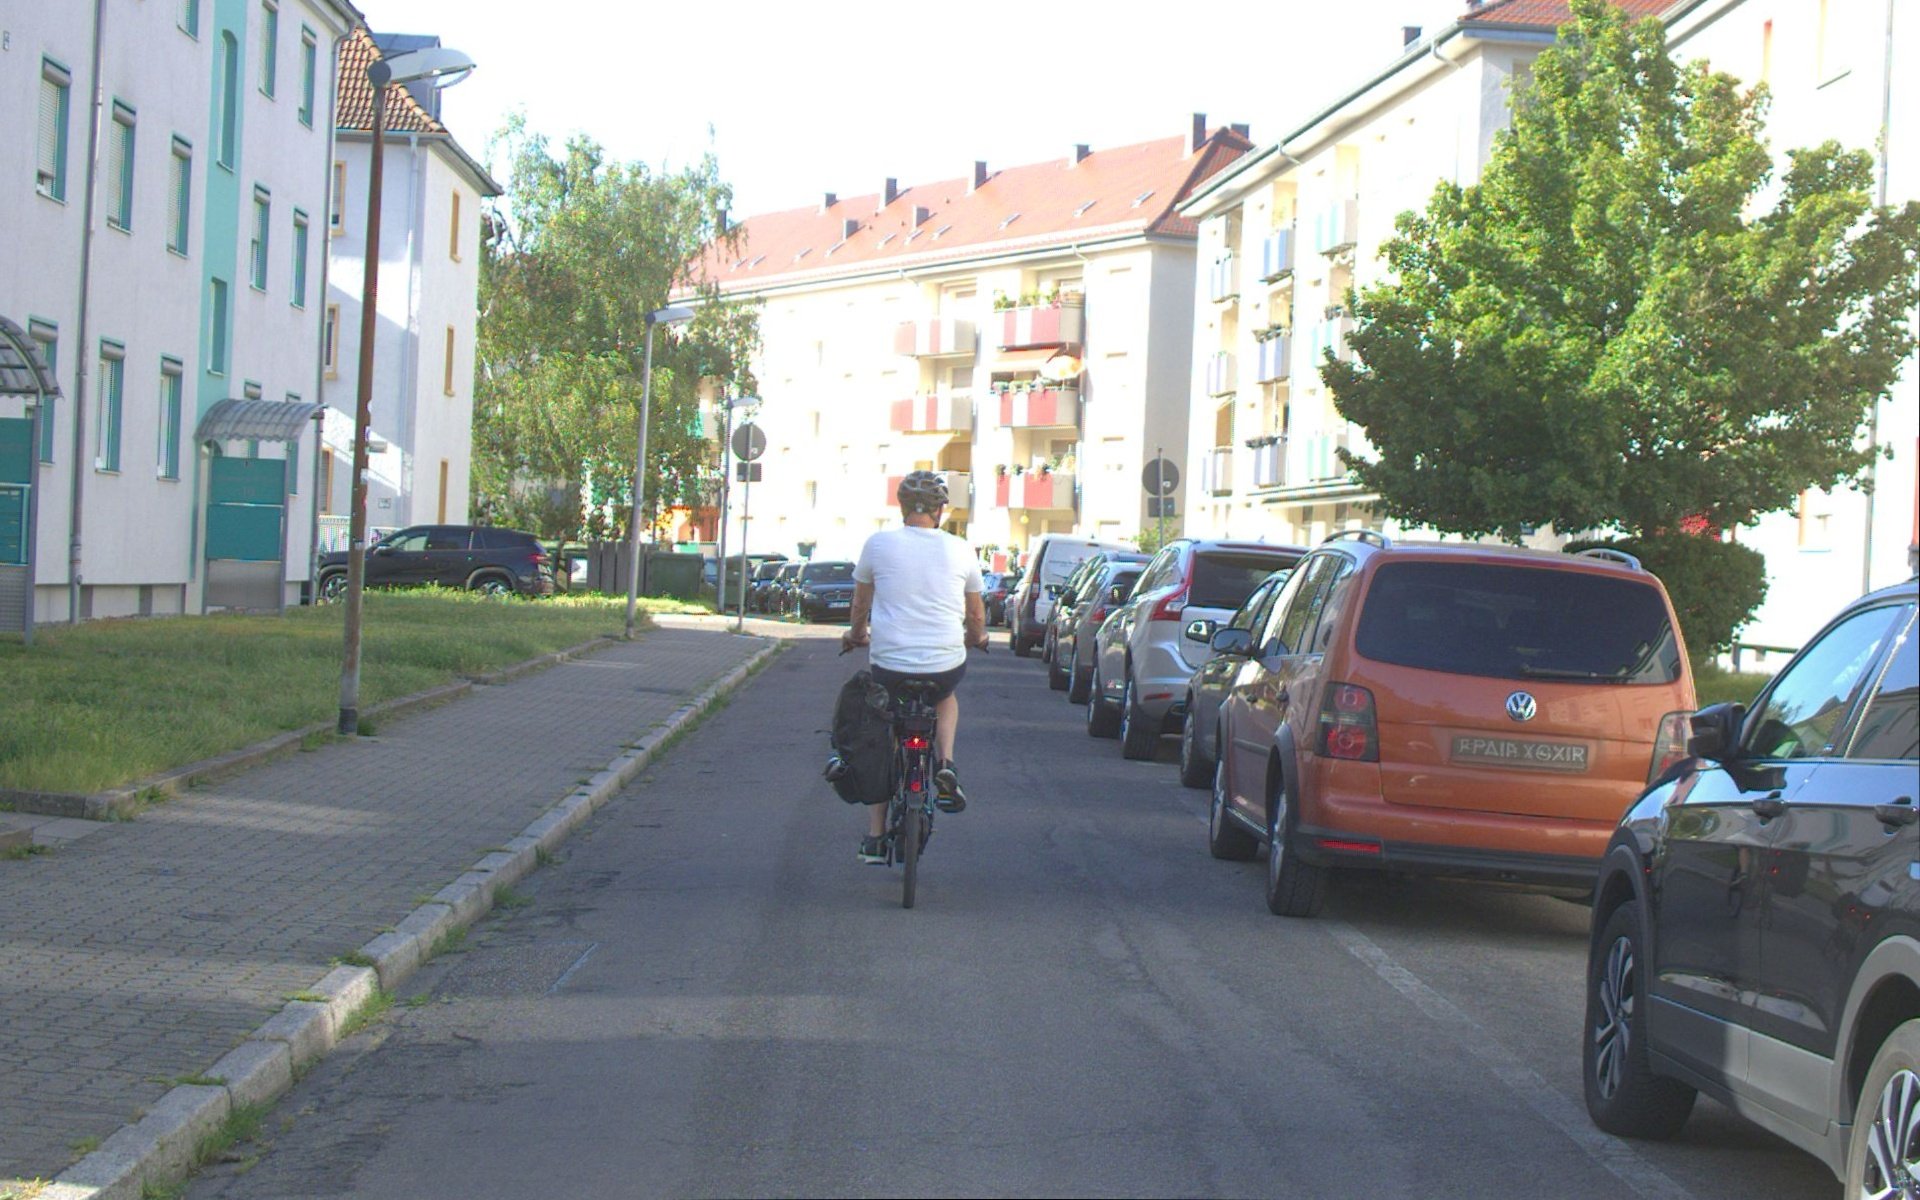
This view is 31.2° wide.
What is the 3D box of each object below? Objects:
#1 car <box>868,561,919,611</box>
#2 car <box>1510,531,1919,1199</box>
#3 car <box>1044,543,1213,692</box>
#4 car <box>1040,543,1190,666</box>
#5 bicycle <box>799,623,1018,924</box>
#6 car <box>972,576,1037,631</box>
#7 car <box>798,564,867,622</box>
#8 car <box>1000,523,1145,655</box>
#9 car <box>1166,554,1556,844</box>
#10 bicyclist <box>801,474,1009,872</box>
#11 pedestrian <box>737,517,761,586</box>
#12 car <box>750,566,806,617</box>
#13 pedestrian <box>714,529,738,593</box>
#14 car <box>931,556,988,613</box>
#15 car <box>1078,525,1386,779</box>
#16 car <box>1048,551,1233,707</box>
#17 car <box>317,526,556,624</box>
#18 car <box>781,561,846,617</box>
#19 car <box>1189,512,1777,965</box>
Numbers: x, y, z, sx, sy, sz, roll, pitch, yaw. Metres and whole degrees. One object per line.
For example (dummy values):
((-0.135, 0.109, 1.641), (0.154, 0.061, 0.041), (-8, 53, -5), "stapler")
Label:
((-2.185, -0.466, 111.936), (1.469, 1.511, 3.077), (3, 1, -3), "car")
((2.612, 0.709, 8.053), (1.712, 1.590, 4.398), (5, 1, -1), "car")
((1.938, 0.173, 40.452), (1.558, 1.571, 3.367), (3, 1, -3), "car")
((1.995, 0.034, 45.091), (1.558, 1.448, 3.367), (3, 1, -3), "car")
((-0.253, 0.698, 14.693), (0.808, 1.124, 2.102), (2, 1, -3), "bicycle")
((1.177, 0.074, 92.414), (1.469, 1.331, 3.141), (3, 1, -3), "car")
((-3.090, -0.189, 82.794), (1.469, 1.331, 3.141), (-1, 1, -5), "car")
((1.591, -0.196, 49.797), (1.674, 1.733, 3.943), (3, 1, -3), "car")
((2.362, 0.531, 21.170), (1.617, 1.455, 3.842), (5, 1, -4), "car")
((-0.250, 0.296, 14.748), (0.808, 1.638, 0.899), (2, 1, -3), "bicyclist")
((-4.849, -1.112, 78.886), (0.434, 1.569, 0.543), (3, 1, -1), "pedestrian")
((-4.981, -0.248, 93.804), (1.469, 1.331, 3.141), (-1, 1, -4), "car")
((-5.356, -0.895, 78.790), (0.434, 1.422, 0.543), (3, 1, -1), "pedestrian")
((-0.031, -0.463, 99.174), (1.381, 1.492, 3.077), (3, 1, -3), "car")
((1.982, 0.318, 26.294), (1.700, 1.665, 4.380), (4, 1, -3), "car")
((1.815, 0.254, 35.548), (1.559, 1.406, 3.934), (3, 1, -1), "car")
((-9.706, -0.472, 63.975), (4.230, 1.633, 1.583), (2, 1, -5), "car")
((-3.733, -0.287, 87.169), (1.469, 1.331, 3.141), (-1, 1, -5), "car")
((2.216, 0.518, 15.710), (1.862, 1.662, 4.127), (4, 1, -1), "car")
